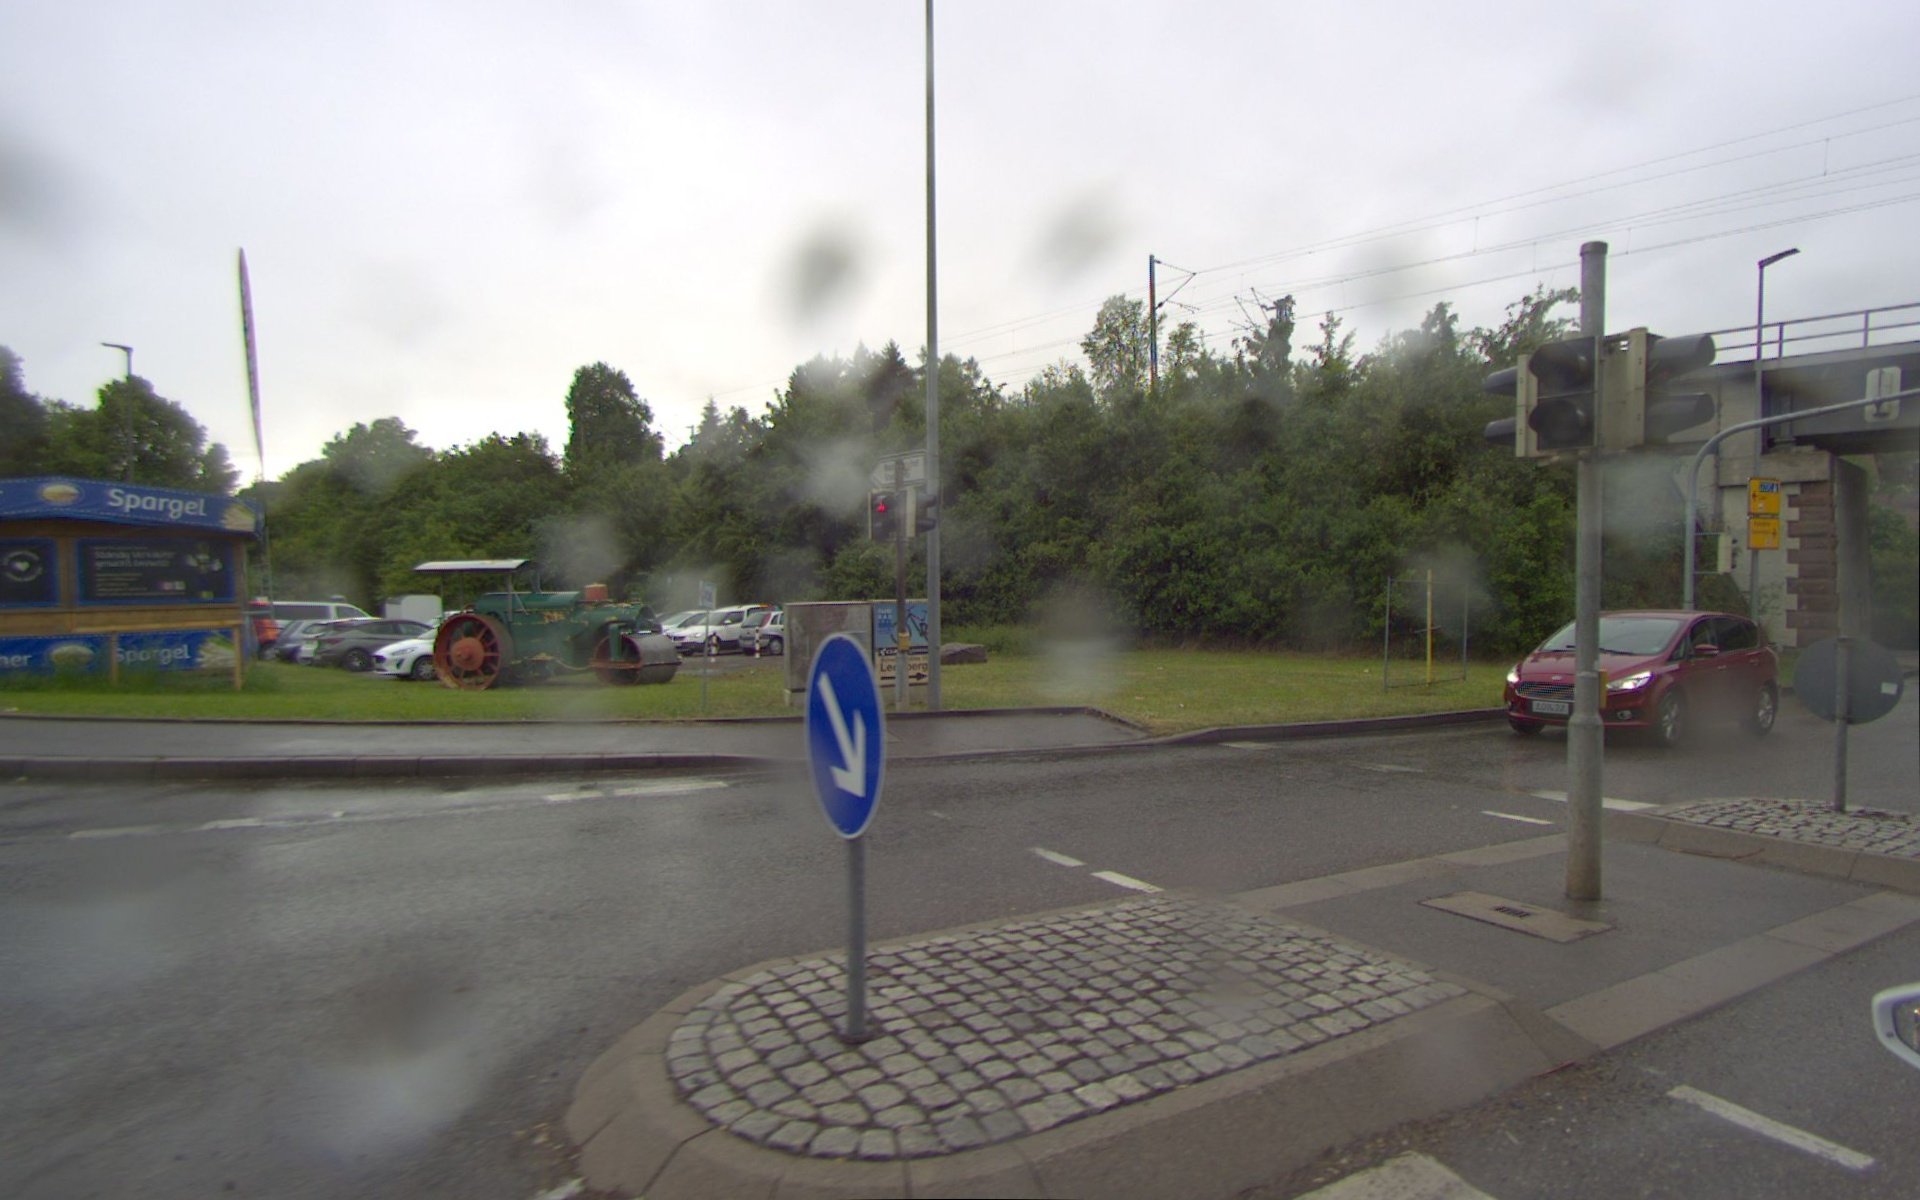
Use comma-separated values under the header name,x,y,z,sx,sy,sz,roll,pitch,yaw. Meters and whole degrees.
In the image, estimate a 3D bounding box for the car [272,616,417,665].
name,x,y,z,sx,sy,sz,roll,pitch,yaw
car,-19.598,1.262,32.060,3.687,1.482,1.571,2,-1,-45

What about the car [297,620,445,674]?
name,x,y,z,sx,sy,sz,roll,pitch,yaw
car,-17.759,1.372,30.374,3.604,1.531,1.571,2,-1,-45

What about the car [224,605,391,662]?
name,x,y,z,sx,sy,sz,roll,pitch,yaw
car,-21.683,1.101,33.491,4.361,1.789,1.896,2,-1,-45

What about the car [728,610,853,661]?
name,x,y,z,sx,sy,sz,roll,pitch,yaw
car,-5.546,1.144,33.208,1.750,1.589,3.801,0,-1,44

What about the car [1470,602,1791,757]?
name,x,y,z,sx,sy,sz,roll,pitch,yaw
car,8.969,0.948,13.328,4.631,1.737,1.886,1,-1,-33

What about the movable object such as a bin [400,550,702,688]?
name,x,y,z,sx,sy,sz,roll,pitch,yaw
movable object such as a bin,-8.673,0.447,21.552,5.587,2.721,2.313,-1,-1,9

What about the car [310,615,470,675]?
name,x,y,z,sx,sy,sz,roll,pitch,yaw
car,-16.157,1.247,28.571,3.687,1.595,1.571,2,-1,-45

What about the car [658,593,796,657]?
name,x,y,z,sx,sy,sz,roll,pitch,yaw
car,-7.842,0.844,34.060,1.878,2.006,4.209,0,-1,44

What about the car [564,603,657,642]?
name,x,y,z,sx,sy,sz,roll,pitch,yaw
car,-14.462,0.941,41.619,3.341,1.560,1.428,2,-1,-45

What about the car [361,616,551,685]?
name,x,y,z,sx,sy,sz,roll,pitch,yaw
car,-12.655,1.217,25.385,1.647,1.595,3.976,0,-1,44

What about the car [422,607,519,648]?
name,x,y,z,sx,sy,sz,roll,pitch,yaw
car,-23.825,1.341,48.991,1.669,1.904,3.944,0,-1,40
